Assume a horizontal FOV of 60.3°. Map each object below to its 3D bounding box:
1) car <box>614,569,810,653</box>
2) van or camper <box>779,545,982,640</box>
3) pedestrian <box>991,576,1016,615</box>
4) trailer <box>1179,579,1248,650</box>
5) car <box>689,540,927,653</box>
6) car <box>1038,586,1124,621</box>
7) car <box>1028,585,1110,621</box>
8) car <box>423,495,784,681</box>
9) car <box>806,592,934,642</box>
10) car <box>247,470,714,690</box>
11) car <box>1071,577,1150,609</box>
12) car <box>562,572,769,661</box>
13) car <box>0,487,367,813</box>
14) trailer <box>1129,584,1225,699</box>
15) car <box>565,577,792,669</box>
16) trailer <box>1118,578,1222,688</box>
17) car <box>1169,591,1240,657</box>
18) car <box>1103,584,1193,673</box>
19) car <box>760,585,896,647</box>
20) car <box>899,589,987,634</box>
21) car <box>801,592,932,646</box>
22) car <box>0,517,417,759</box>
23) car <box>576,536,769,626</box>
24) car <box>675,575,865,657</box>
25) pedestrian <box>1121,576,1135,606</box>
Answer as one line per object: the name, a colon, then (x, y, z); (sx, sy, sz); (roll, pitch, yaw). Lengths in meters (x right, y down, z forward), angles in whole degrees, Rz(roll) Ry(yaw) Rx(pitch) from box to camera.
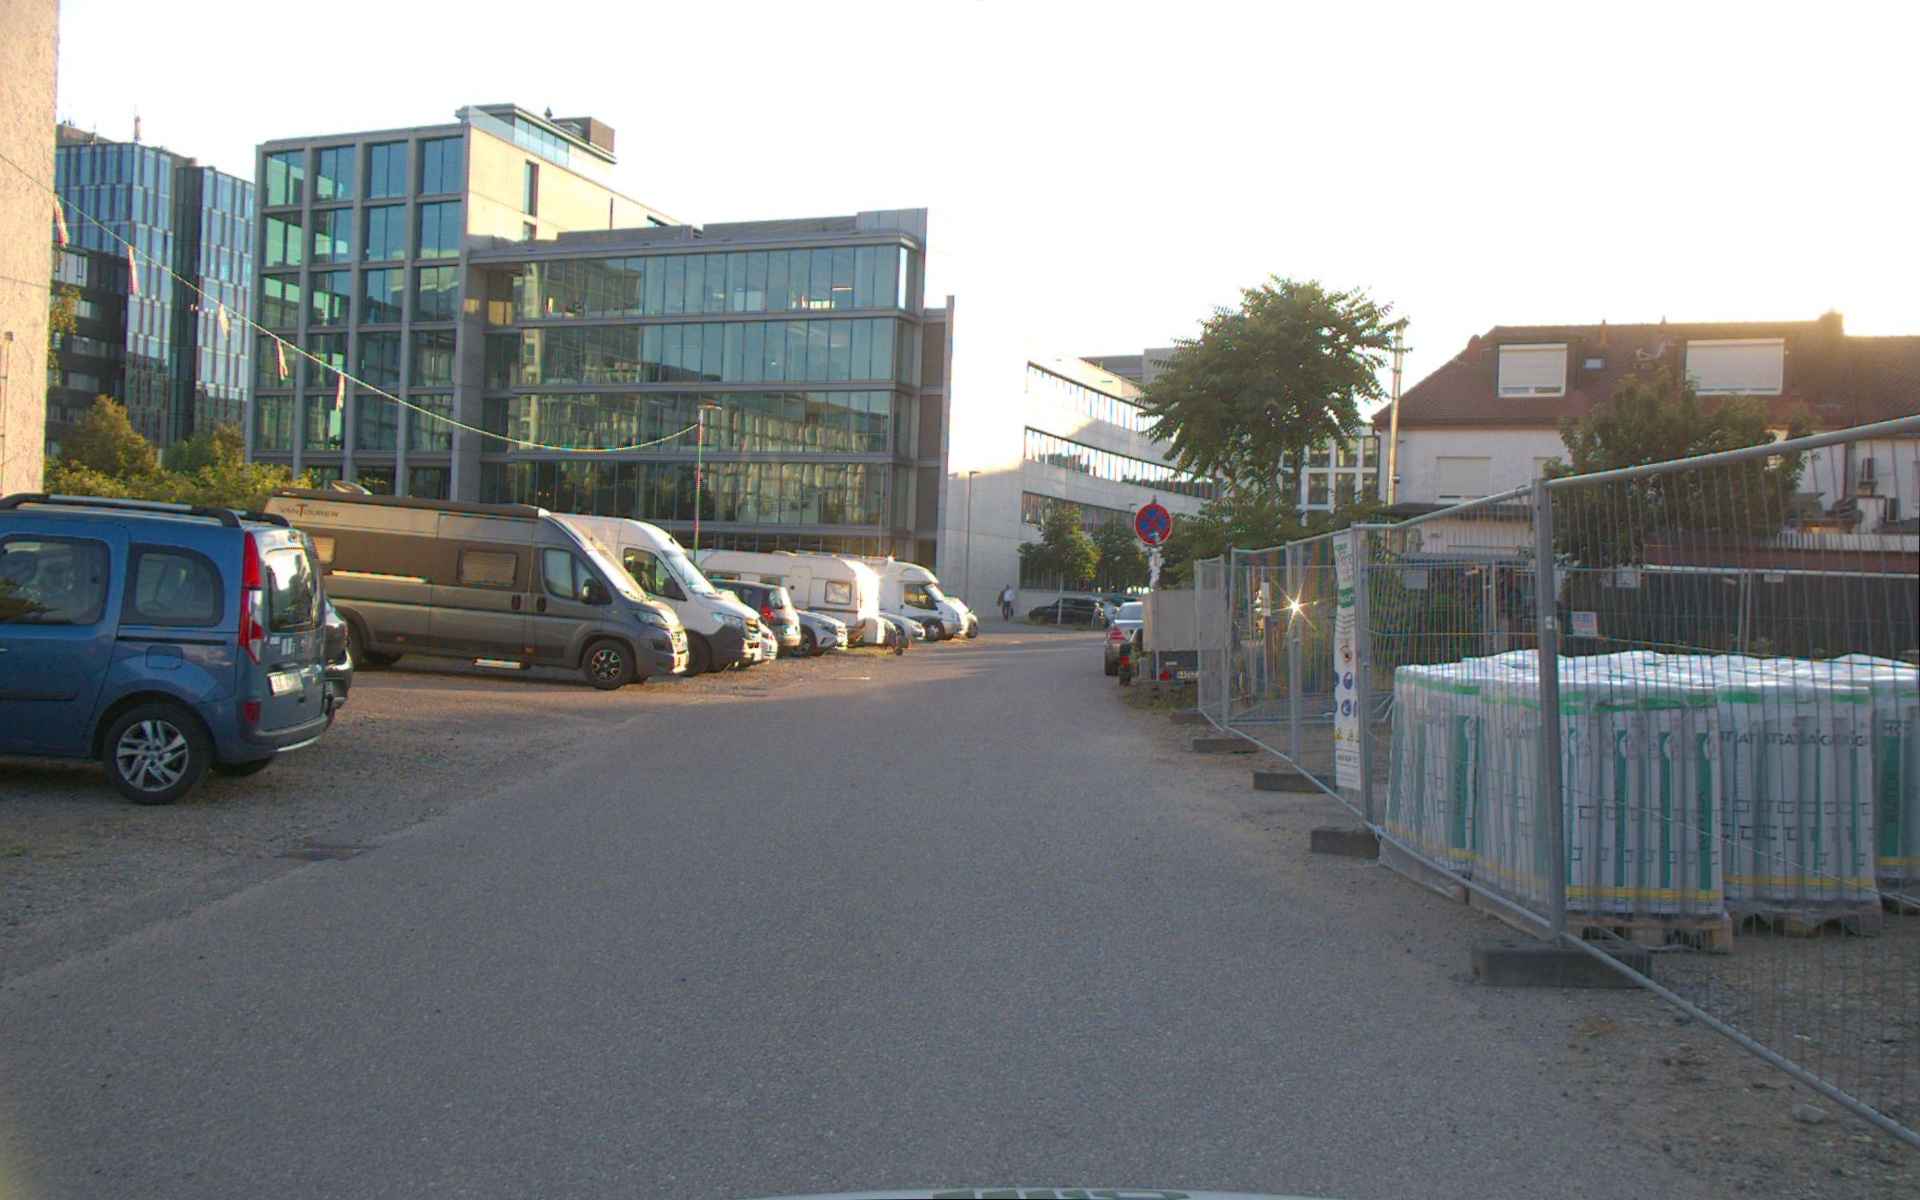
car: (-5.437, 0.228, 36.452); (3.842, 1.618, 1.749); (3, 0, 15)
van or camper: (-2.770, -0.280, 58.165); (6.597, 2.948, 2.411); (3, 0, 12)
pedestrian: (2.144, -0.219, 81.377); (0.892, 1.882, 0.845); (1, 1, -36)
trailer: (8.662, 0.452, 56.215); (2.020, 2.250, 5.227); (1, 0, 12)
car: (-4.034, -0.075, 44.332); (5.764, 2.578, 2.413); (4, -1, 13)
car: (6.162, 0.175, 83.925); (4.000, 1.555, 1.847); (3, 1, 17)
car: (5.381, 0.132, 81.286); (3.656, 1.507, 1.771); (3, 1, 17)
car: (-6.177, -0.231, 29.061); (5.704, 2.759, 2.052); (4, 1, 4)
car: (-2.857, 0.527, 52.739); (3.727, 1.351, 1.694); (3, 0, 9)
car: (-7.099, -0.280, 25.036); (6.259, 2.760, 2.112); (4, -1, -1)
car: (8.250, -0.388, 90.655); (3.907, 1.537, 1.759); (3, 1, 24)
car: (-6.095, 0.352, 34.462); (3.842, 1.618, 1.749); (3, -1, 6)
car: (-6.275, 0.237, 11.174); (3.851, 1.944, 1.746); (4, 1, -7)
trailer: (3.325, 0.607, 25.649); (1.224, 1.694, 2.804); (0, 0, 2)
car: (-5.317, 0.429, 31.518); (3.842, 1.533, 1.791); (3, 0, 7)
trailer: (3.777, 0.538, 29.687); (1.694, 1.808, 4.941); (0, 0, 8)
car: (7.499, 0.688, 50.435); (1.733, 1.863, 4.412); (1, 1, 14)
car: (4.059, 0.565, 35.168); (1.767, 1.755, 4.932); (0, 0, 8)
car: (-3.793, 0.453, 47.793); (3.551, 1.545, 1.707); (3, 0, 8)
car: (-0.597, 0.450, 61.326); (1.652, 1.545, 4.360); (3, 0, 22)
car: (-2.835, 0.565, 50.583); (3.647, 1.391, 1.707); (3, 0, 8)
car: (-6.788, 0.238, 13.763); (3.843, 1.680, 1.749); (4, 1, 9)
car: (-9.921, -0.660, 57.075); (6.111, 2.719, 2.224); (3, 0, 17)
car: (-4.486, 0.358, 39.222); (4.039, 1.618, 1.749); (4, 1, 15)
pedestrian: (10.656, -0.575, 104.725); (0.633, 1.815, 0.725); (3, 0, 23)
